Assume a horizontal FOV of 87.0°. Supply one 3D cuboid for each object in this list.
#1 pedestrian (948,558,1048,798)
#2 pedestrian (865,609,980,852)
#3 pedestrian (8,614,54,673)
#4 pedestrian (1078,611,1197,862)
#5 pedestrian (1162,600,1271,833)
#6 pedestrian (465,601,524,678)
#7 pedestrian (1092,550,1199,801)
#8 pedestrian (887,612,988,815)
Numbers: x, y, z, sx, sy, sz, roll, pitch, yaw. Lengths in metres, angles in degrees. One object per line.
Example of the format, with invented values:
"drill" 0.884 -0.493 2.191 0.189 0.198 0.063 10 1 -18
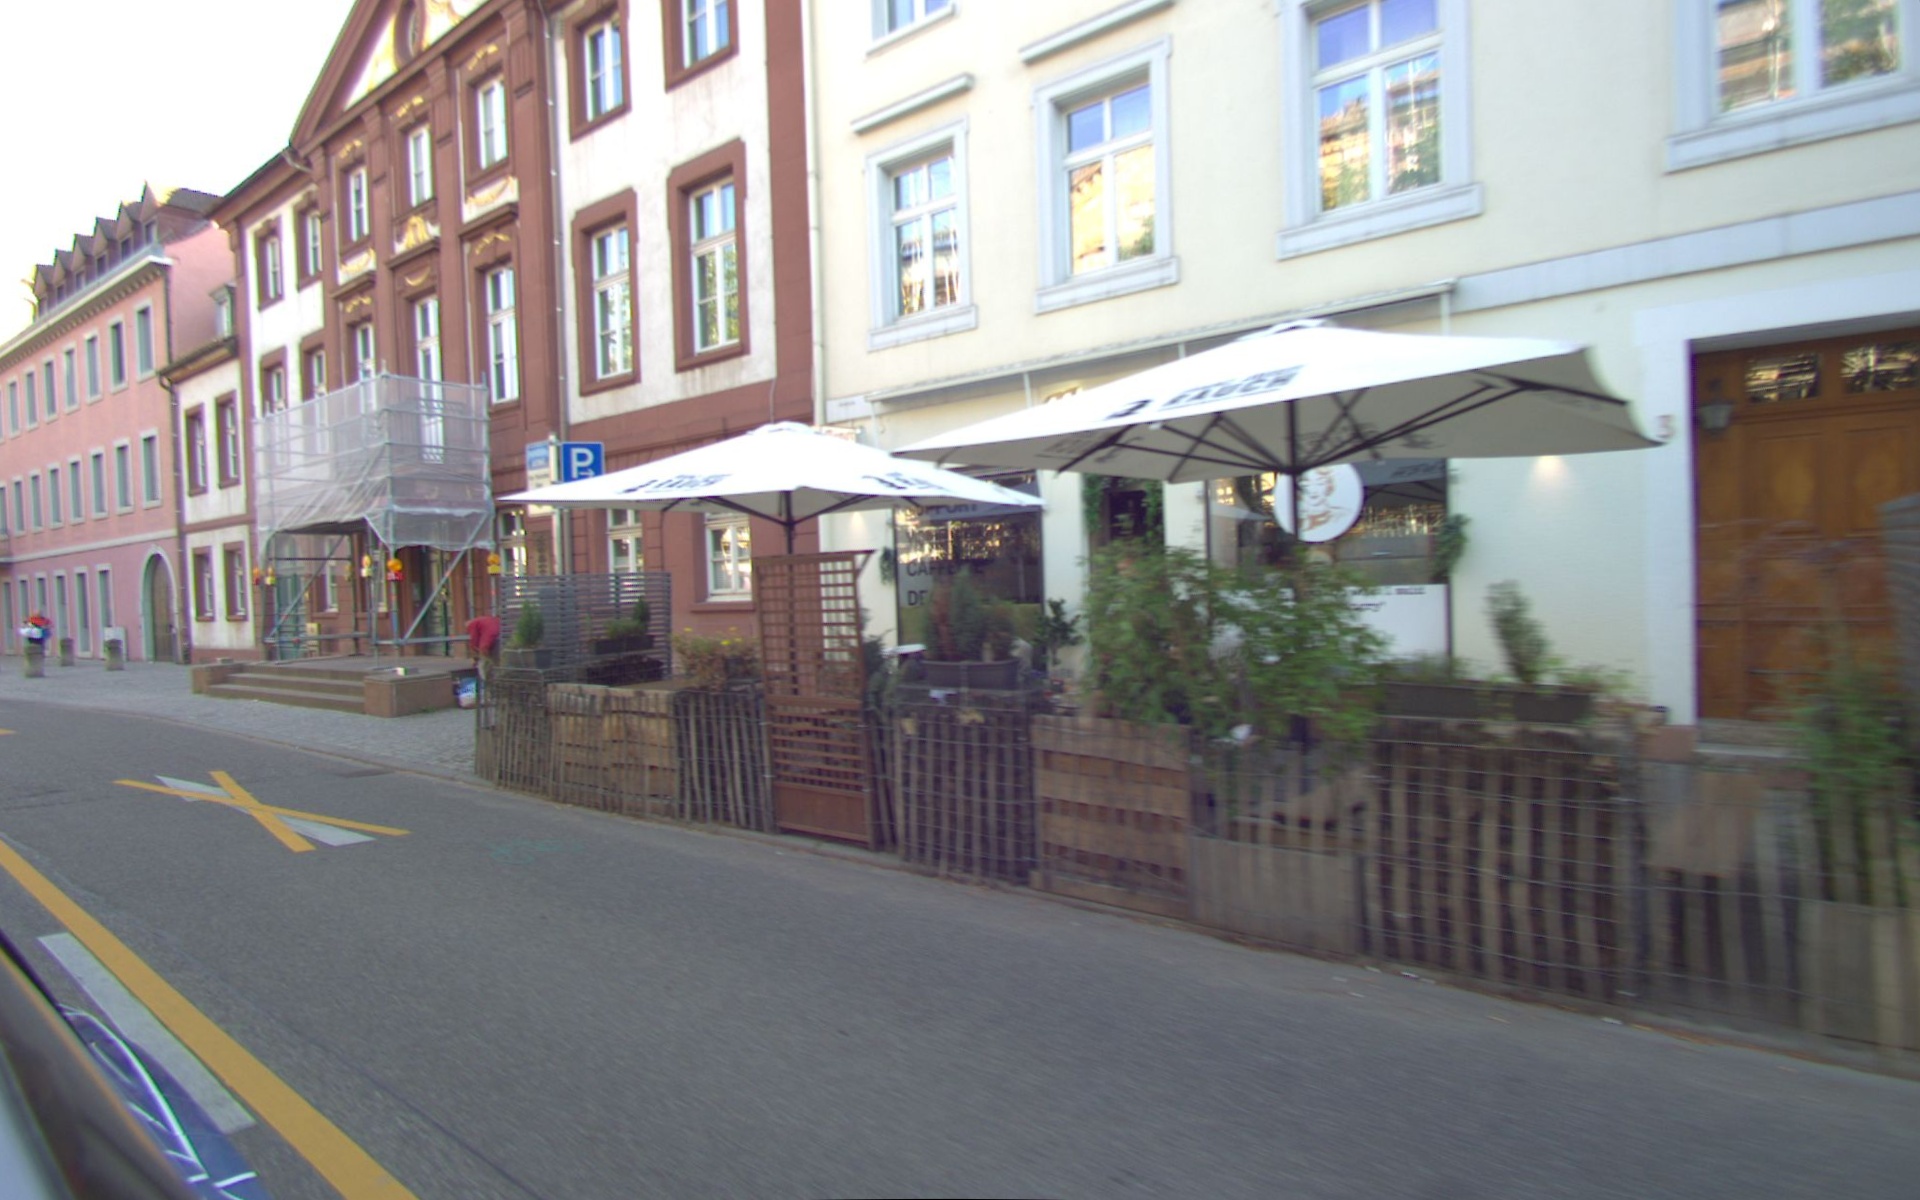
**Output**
"pedestrian" 0.300 0.576 7.903 0.588 1.788 0.439 -2 0 -43
"pedestrian" -0.239 0.788 6.422 0.502 1.444 0.465 -2 1 43
"pedestrian" -27.981 1.313 30.484 0.867 1.701 0.784 -2 2 36
"pedestrian" 1.068 0.781 6.073 0.487 1.401 0.518 -2 0 36
"pedestrian" 1.648 0.714 6.489 0.487 1.401 0.518 -2 0 36
"pedestrian" -6.766 0.565 14.714 0.550 1.060 0.532 -2 1 34
"pedestrian" 1.377 0.534 7.561 0.432 1.788 0.598 -2 0 -38
"pedestrian" -0.163 0.798 7.398 0.487 1.401 0.518 -2 0 36
